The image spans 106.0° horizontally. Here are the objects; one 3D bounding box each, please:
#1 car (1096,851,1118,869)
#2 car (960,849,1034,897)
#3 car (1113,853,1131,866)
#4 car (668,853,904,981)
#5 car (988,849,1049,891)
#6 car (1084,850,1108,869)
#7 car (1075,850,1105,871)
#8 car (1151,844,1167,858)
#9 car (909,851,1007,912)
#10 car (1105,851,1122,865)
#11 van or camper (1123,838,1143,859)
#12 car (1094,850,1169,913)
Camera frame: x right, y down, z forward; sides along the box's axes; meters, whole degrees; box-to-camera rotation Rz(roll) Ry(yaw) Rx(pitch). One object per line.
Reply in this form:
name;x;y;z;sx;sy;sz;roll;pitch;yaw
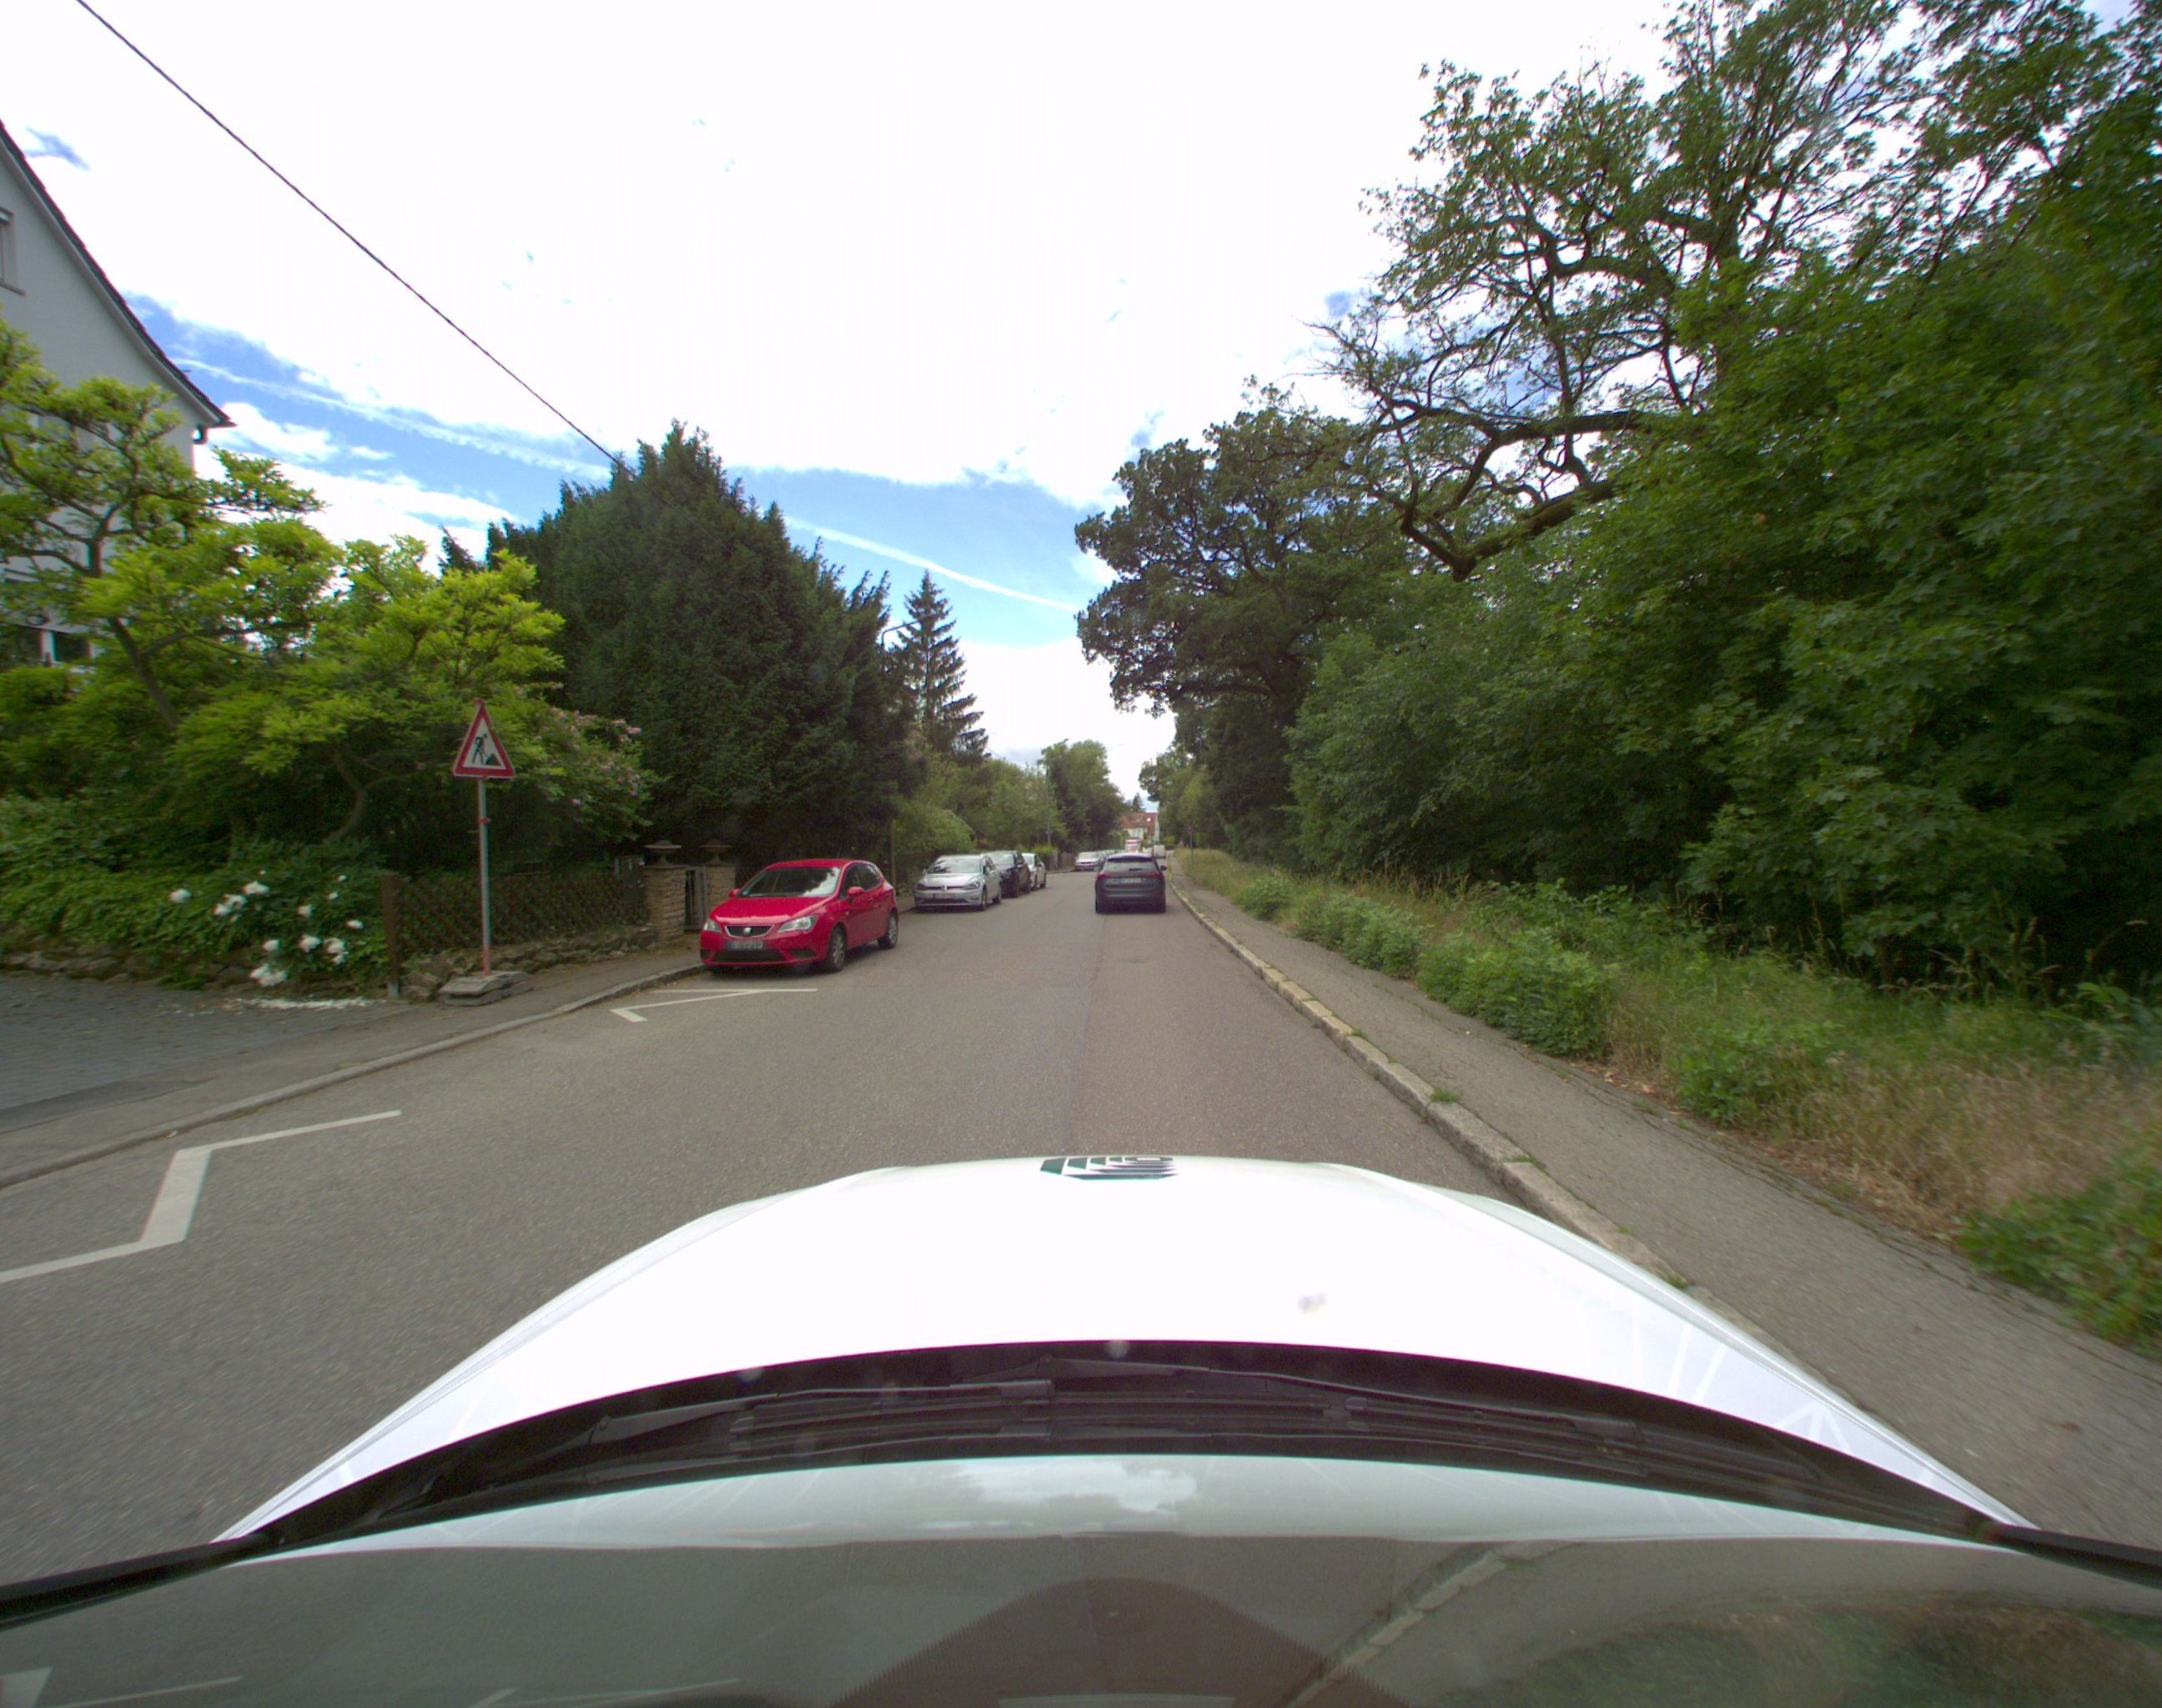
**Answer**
car;2.577;0.584;79.220;1.908;1.562;4.608;-4;0;3
car;-2.769;0.596;27.742;1.775;1.500;4.020;-1;0;5
car;5.143;0.675;102.389;1.788;1.505;4.874;-4;0;8
car;-3.879;0.743;11.451;1.729;1.439;3.791;-1;1;3
car;-2.396;0.585;32.282;1.775;1.500;4.020;-1;0;5
car;1.227;0.410;66.505;1.727;1.439;4.266;-2;0;3
car;0.687;0.440;60.290;1.840;1.439;4.916;-2;0;4
car;11.079;-0.455;116.294;2.063;1.922;4.926;-1;0;3
car;-3.228;0.667;22.204;1.776;1.439;4.327;-1;1;3
car;3.565;0.432;89.925;1.714;1.505;4.009;-4;0;1
van or camper;7.510;-0.830;117.993;2.448;2.895;7.168;-2;0;0
car;1.293;0.632;21.160;1.720;1.439;4.327;-1;1;3
